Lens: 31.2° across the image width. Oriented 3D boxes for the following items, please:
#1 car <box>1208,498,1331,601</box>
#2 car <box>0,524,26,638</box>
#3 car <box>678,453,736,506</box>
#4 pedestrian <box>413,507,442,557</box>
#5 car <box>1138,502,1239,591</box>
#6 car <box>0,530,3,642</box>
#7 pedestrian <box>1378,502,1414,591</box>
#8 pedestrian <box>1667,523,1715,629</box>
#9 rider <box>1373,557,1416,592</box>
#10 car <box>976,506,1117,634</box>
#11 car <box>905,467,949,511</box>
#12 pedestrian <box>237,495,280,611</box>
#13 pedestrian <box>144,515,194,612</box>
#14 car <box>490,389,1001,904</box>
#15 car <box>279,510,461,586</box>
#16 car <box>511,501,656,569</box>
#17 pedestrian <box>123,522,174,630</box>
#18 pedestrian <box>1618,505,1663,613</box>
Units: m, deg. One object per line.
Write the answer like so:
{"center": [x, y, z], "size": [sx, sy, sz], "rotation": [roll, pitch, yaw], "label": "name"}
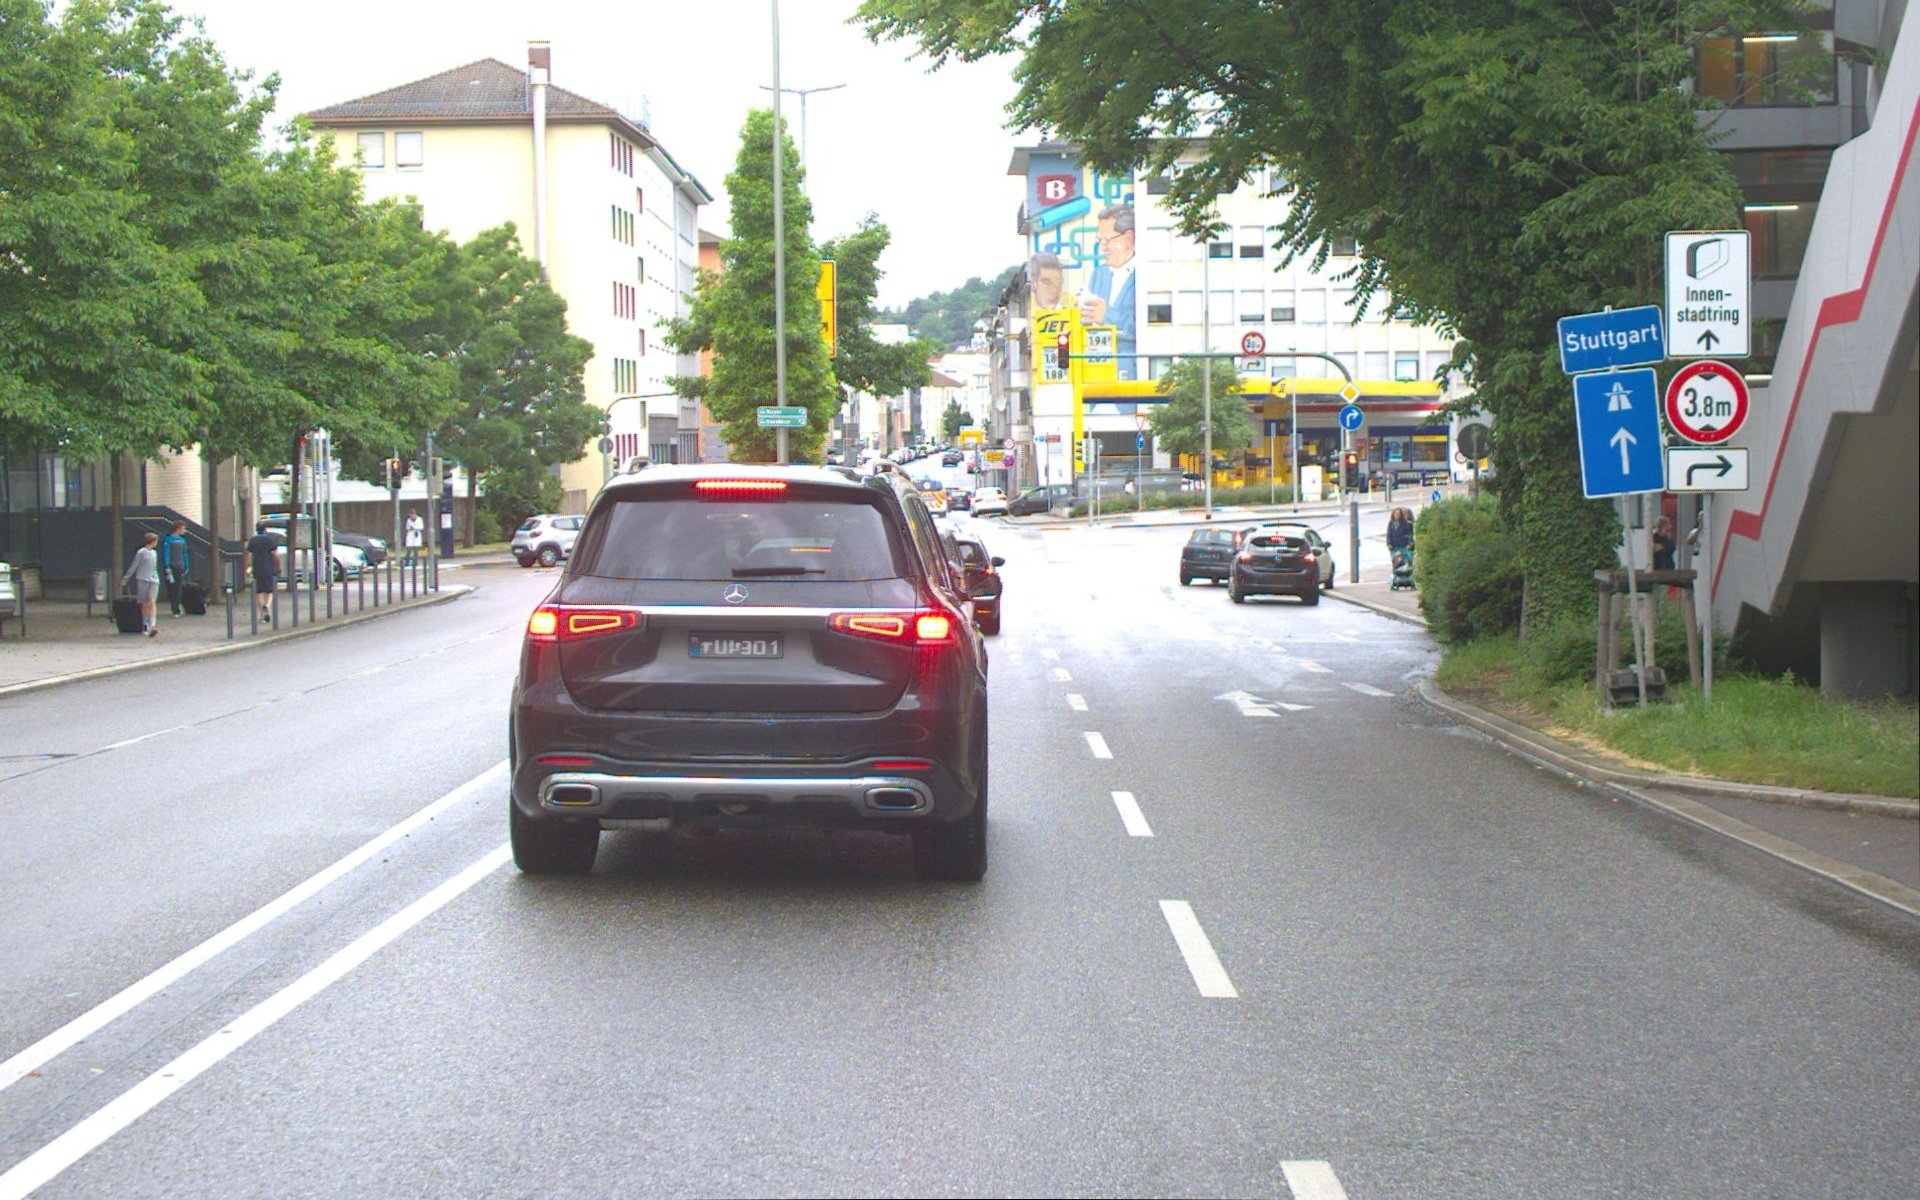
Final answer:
{"center": [6.238, -1.002, 69.603], "size": [1.993, 2.007, 4.000], "rotation": [1, 0, -2], "label": "car"}
{"center": [-15.955, -0.325, 49.750], "size": [4.415, 1.568, 2.001], "rotation": [1, 3, -5], "label": "car"}
{"center": [-9.903, -4.708, 134.913], "size": [1.993, 1.868, 5.142], "rotation": [1, 1, -2], "label": "car"}
{"center": [-15.538, -1.986, 100.315], "size": [0.711, 1.457, 0.598], "rotation": [1, 0, -1], "label": "pedestrian"}
{"center": [5.387, -1.258, 81.532], "size": [1.993, 2.007, 4.000], "rotation": [1, 1, -2], "label": "car"}
{"center": [-15.714, -0.187, 47.634], "size": [4.467, 1.581, 2.001], "rotation": [0, 1, -6], "label": "car"}
{"center": [9.476, -1.149, 74.718], "size": [0.663, 1.911, 0.728], "rotation": [1, 0, 14], "label": "pedestrian"}
{"center": [10.450, -0.340, 49.146], "size": [0.582, 1.496, 0.504], "rotation": [1, 0, 5], "label": "pedestrian"}
{"center": [9.381, -0.546, 74.194], "size": [0.632, 0.737, 0.694], "rotation": [2, 1, 41], "label": "rider"}
{"center": [1.190, -0.425, 48.824], "size": [1.703, 1.710, 3.444], "rotation": [1, 1, -3], "label": "car"}
{"center": [-1.552, -5.205, 160.879], "size": [1.993, 2.006, 4.001], "rotation": [1, 2, -1], "label": "car"}
{"center": [-12.239, -0.820, 59.989], "size": [0.587, 2.007, 0.749], "rotation": [1, 0, -2], "label": "pedestrian"}
{"center": [-14.217, -0.646, 61.801], "size": [0.688, 1.719, 0.754], "rotation": [1, -1, -1], "label": "pedestrian"}
{"center": [-0.898, 0.167, 15.715], "size": [1.993, 2.007, 4.000], "rotation": [1, 1, -1], "label": "car"}
{"center": [-16.023, -1.428, 93.579], "size": [4.803, 2.006, 2.001], "rotation": [0, 2, -7], "label": "car"}
{"center": [-10.846, -1.870, 98.944], "size": [3.986, 1.936, 2.001], "rotation": [0, 1, -12], "label": "car"}
{"center": [-12.902, -0.388, 54.664], "size": [0.676, 1.691, 0.479], "rotation": [1, 0, 0], "label": "pedestrian"}
{"center": [9.720, -0.587, 49.094], "size": [0.551, 1.527, 0.488], "rotation": [1, 0, 6], "label": "pedestrian"}
